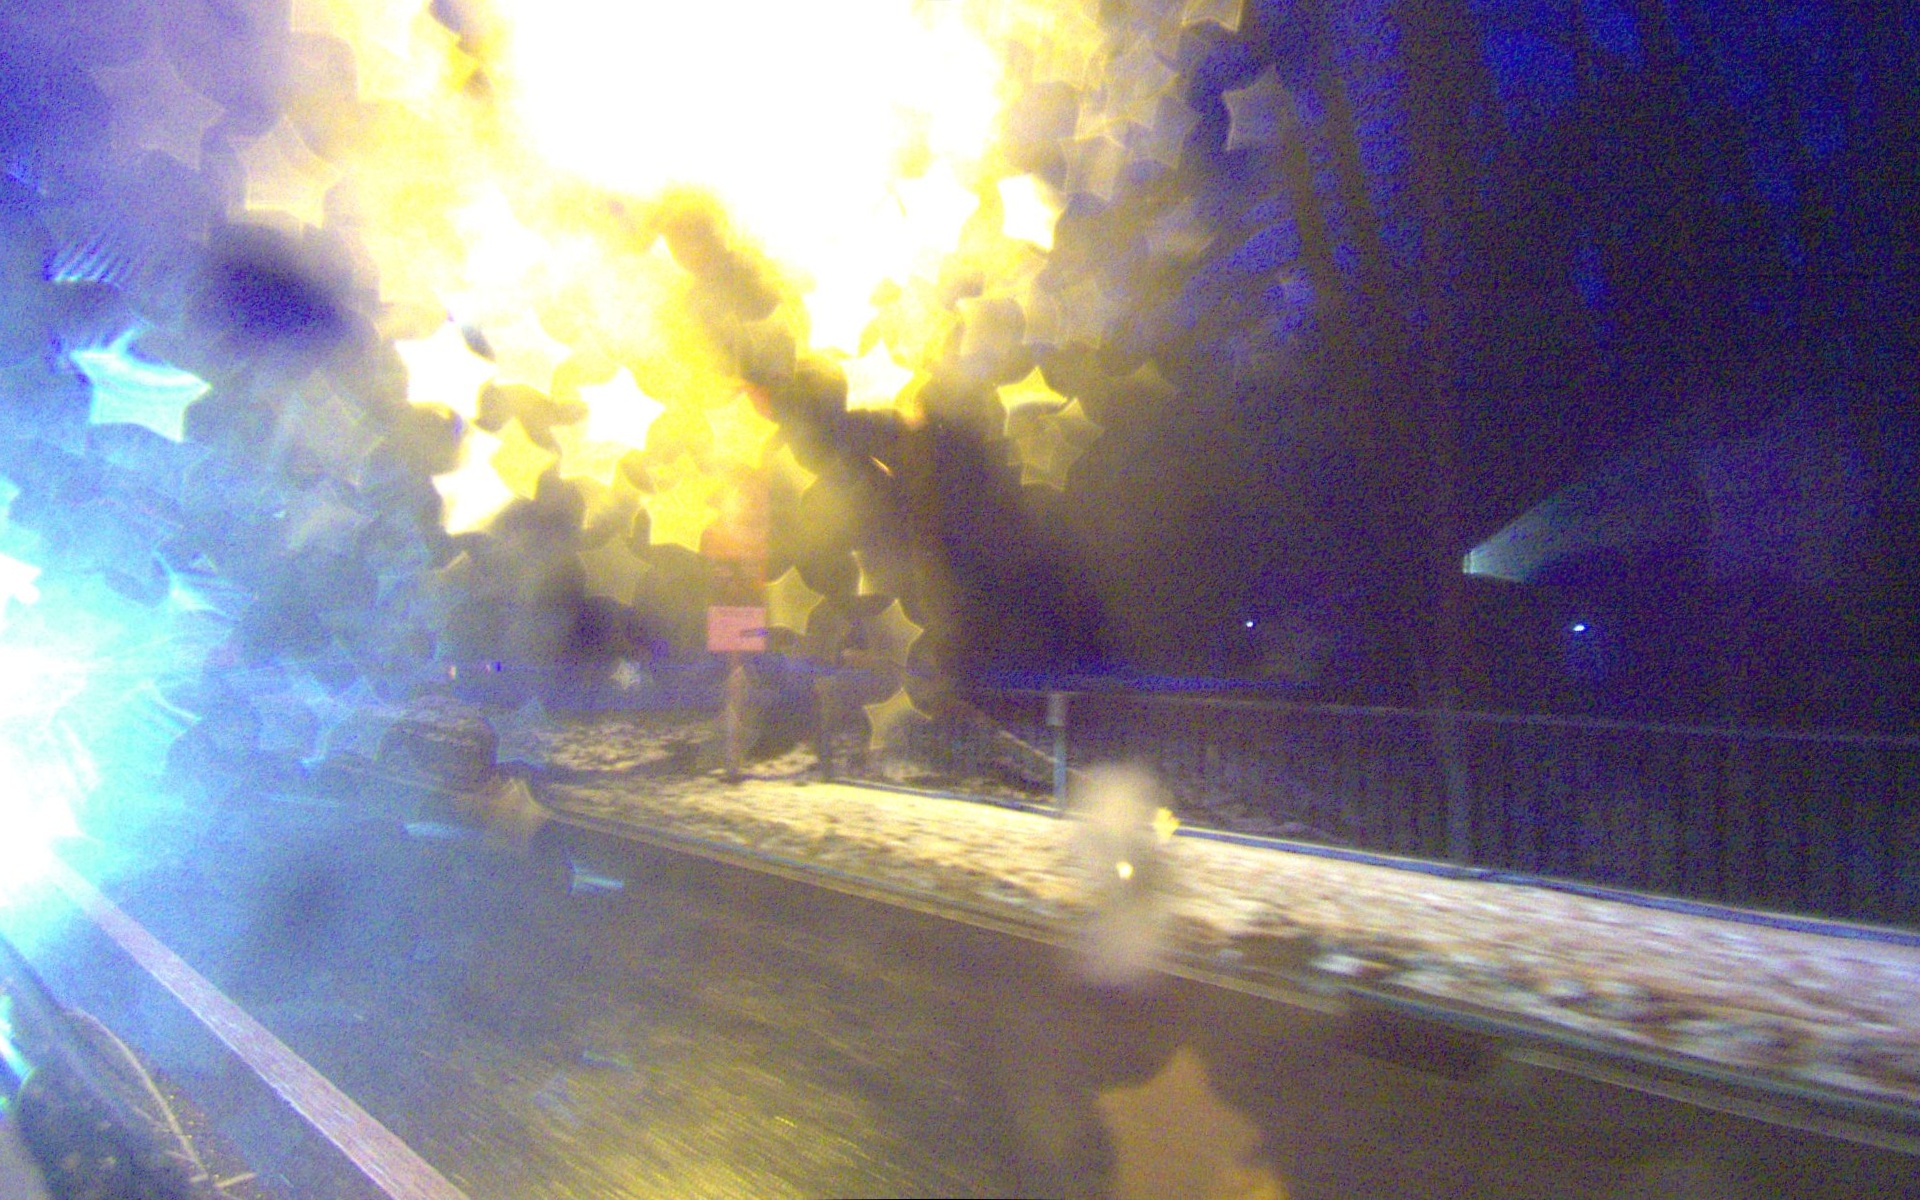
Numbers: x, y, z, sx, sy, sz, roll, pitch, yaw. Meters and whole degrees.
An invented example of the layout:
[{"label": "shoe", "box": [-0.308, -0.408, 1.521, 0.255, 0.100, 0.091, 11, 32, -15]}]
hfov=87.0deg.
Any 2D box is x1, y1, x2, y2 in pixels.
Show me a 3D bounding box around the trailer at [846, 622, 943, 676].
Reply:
[{"label": "trailer", "box": [-2.946, 2.203, 45.614, 3.745, 2.234, 1.980, 4, -2, -31]}]
